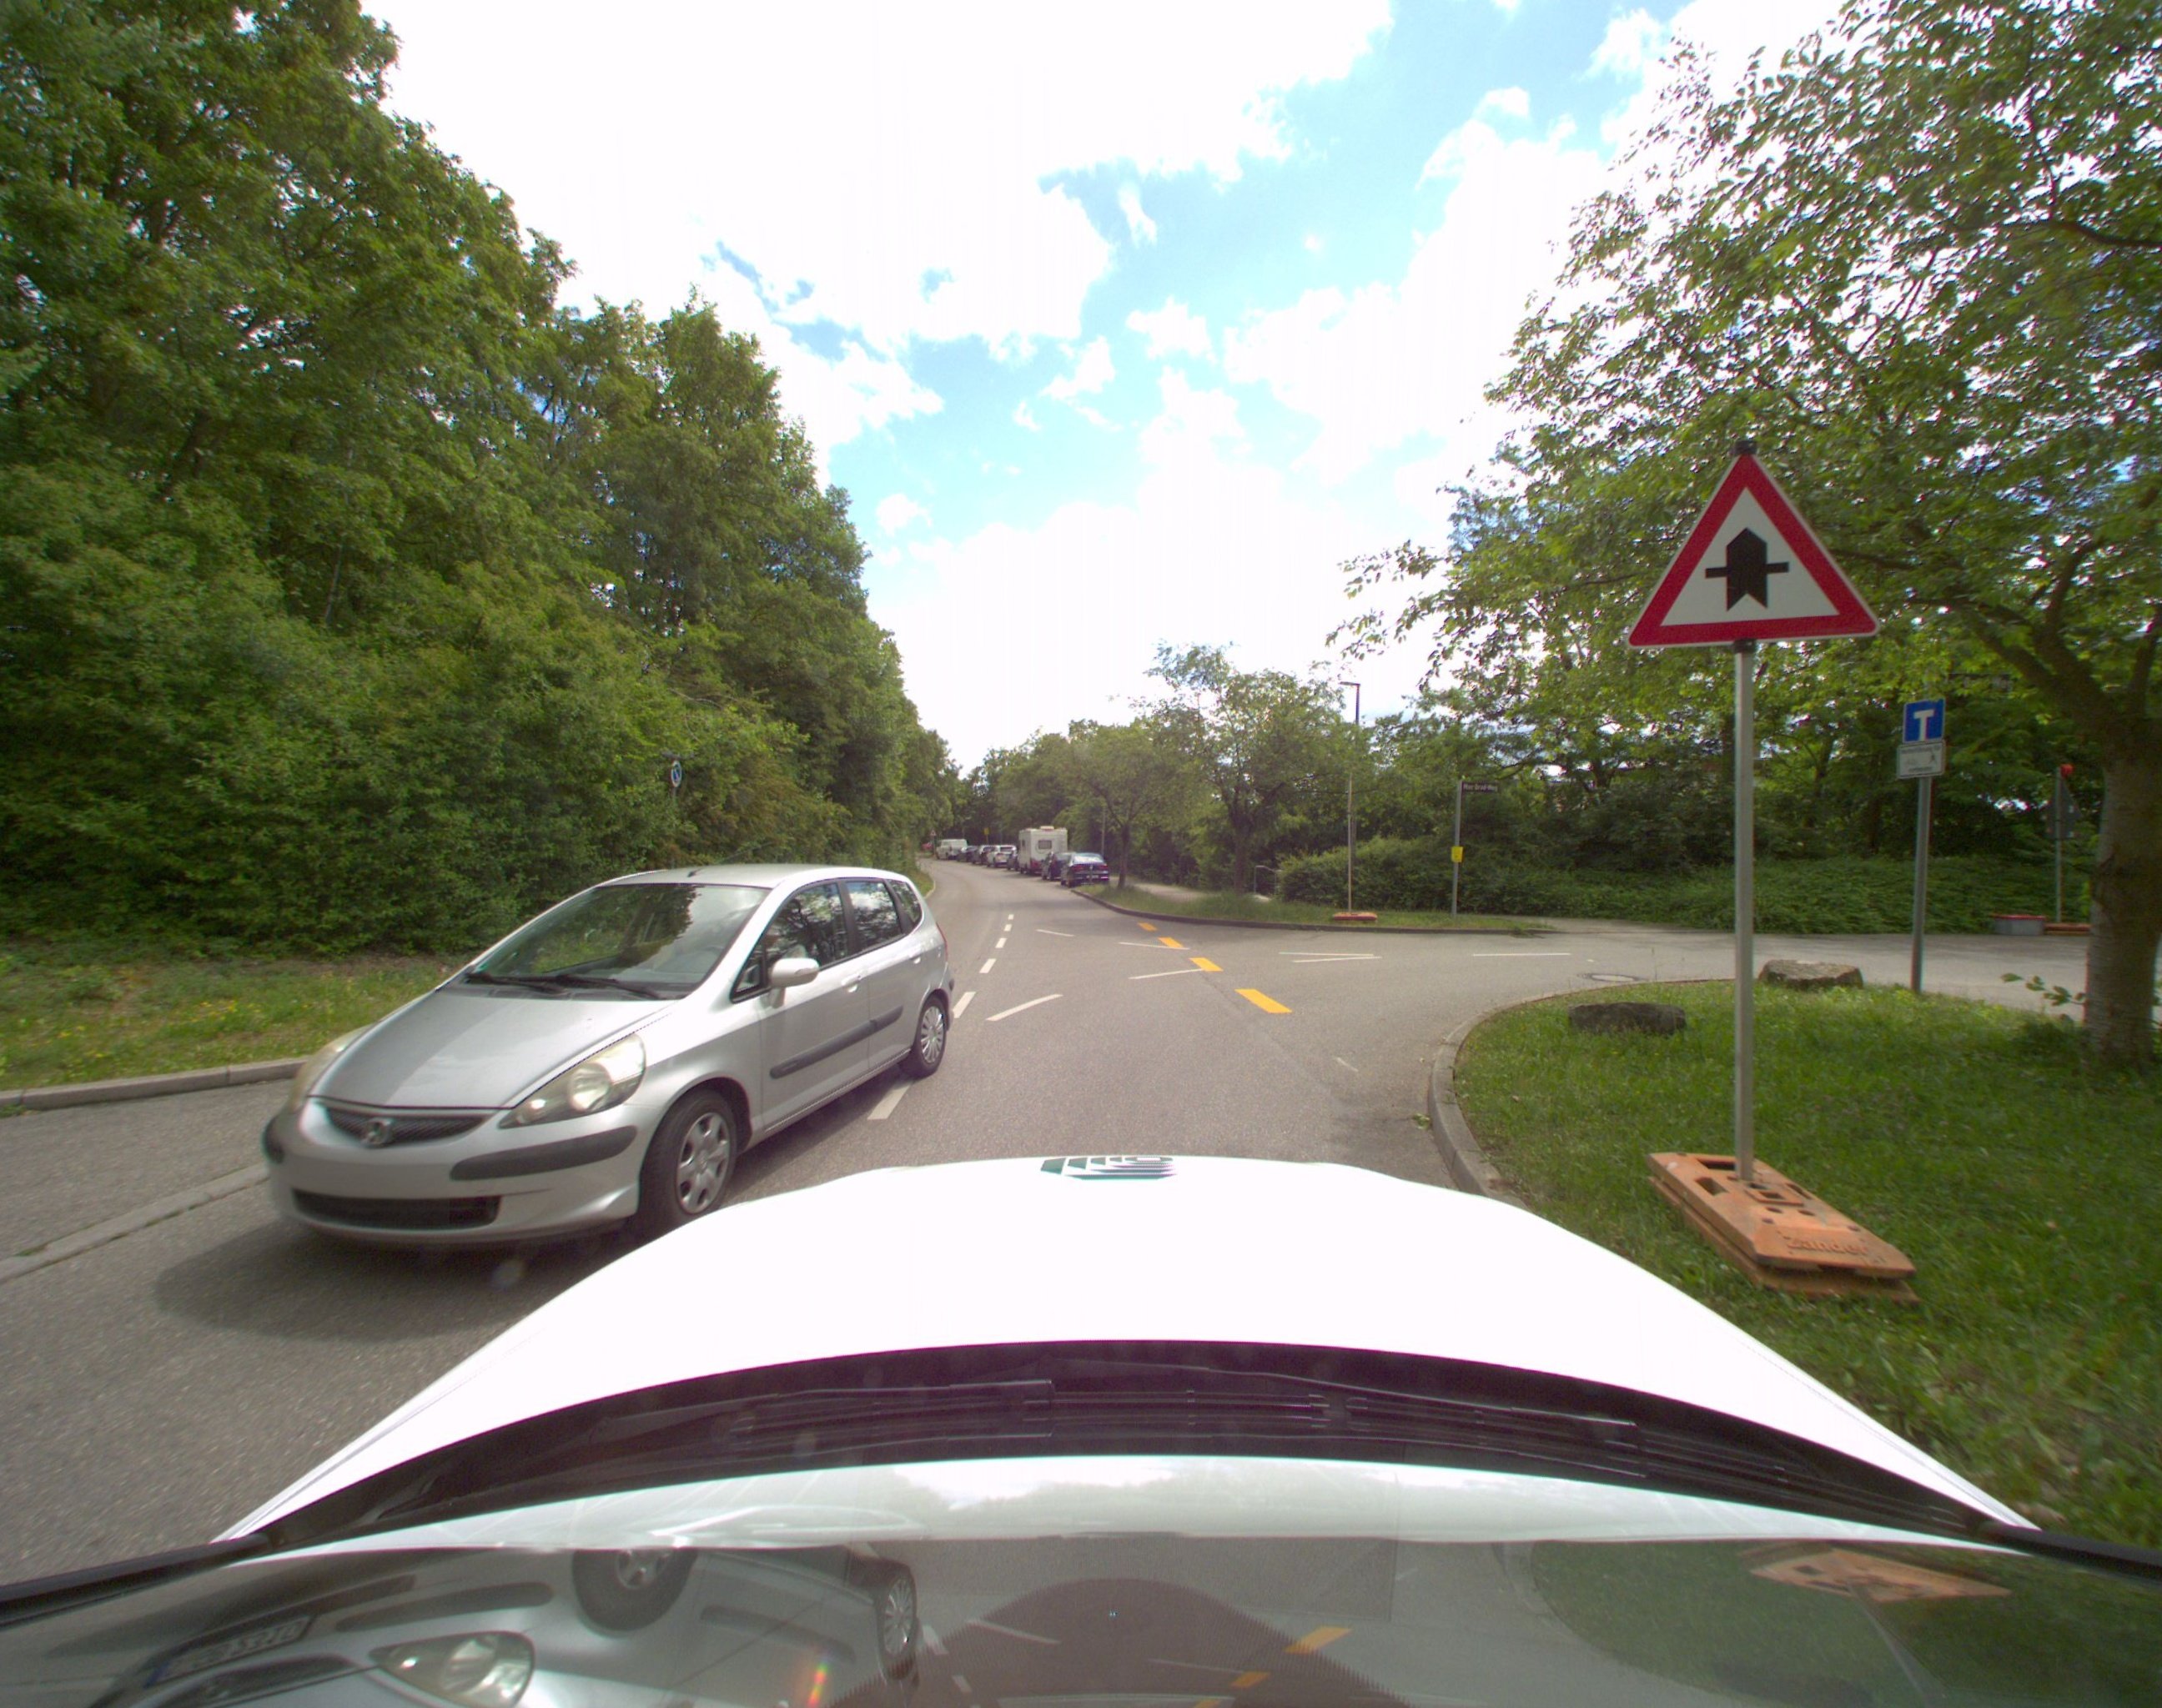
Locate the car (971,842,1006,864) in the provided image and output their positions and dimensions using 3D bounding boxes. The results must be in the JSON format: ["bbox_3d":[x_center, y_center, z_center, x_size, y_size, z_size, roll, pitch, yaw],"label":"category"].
[{"bbox_3d":[-7.891,-0.139,68.845,2.000,1.626,4.251,-3,3,-19],"label":"car"}]

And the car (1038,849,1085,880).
[{"bbox_3d":[-1.073,0.521,43.062,1.730,1.519,3.872,-2,0,-12],"label":"car"}]

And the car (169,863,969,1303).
[{"bbox_3d":[-2.158,0.783,4.693,1.829,1.456,3.665,0,-1,12],"label":"car"}]

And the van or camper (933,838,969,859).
[{"bbox_3d":[-12.869,-0.595,80.495,2.005,1.919,5.220,-2,3,-27],"label":"van or camper"}]

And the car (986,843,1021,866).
[{"bbox_3d":[-6.044,0.010,63.196,1.876,1.689,4.553,0,1,-17],"label":"car"}]

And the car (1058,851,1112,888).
[{"bbox_3d":[0.109,0.620,35.919,1.775,1.434,4.322,-1,1,-8],"label":"car"}]

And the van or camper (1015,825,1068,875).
[{"bbox_3d":[-2.553,-0.265,50.501,2.334,2.869,6.125,0,1,-12],"label":"van or camper"}]

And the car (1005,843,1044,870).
[{"bbox_3d":[-3.953,0.121,56.407,1.715,1.591,3.977,-8,3,-17],"label":"car"}]

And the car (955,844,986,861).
[{"bbox_3d":[-10.207,-0.174,75.088,1.806,1.464,3.969,-1,1,-24],"label":"car"}]
